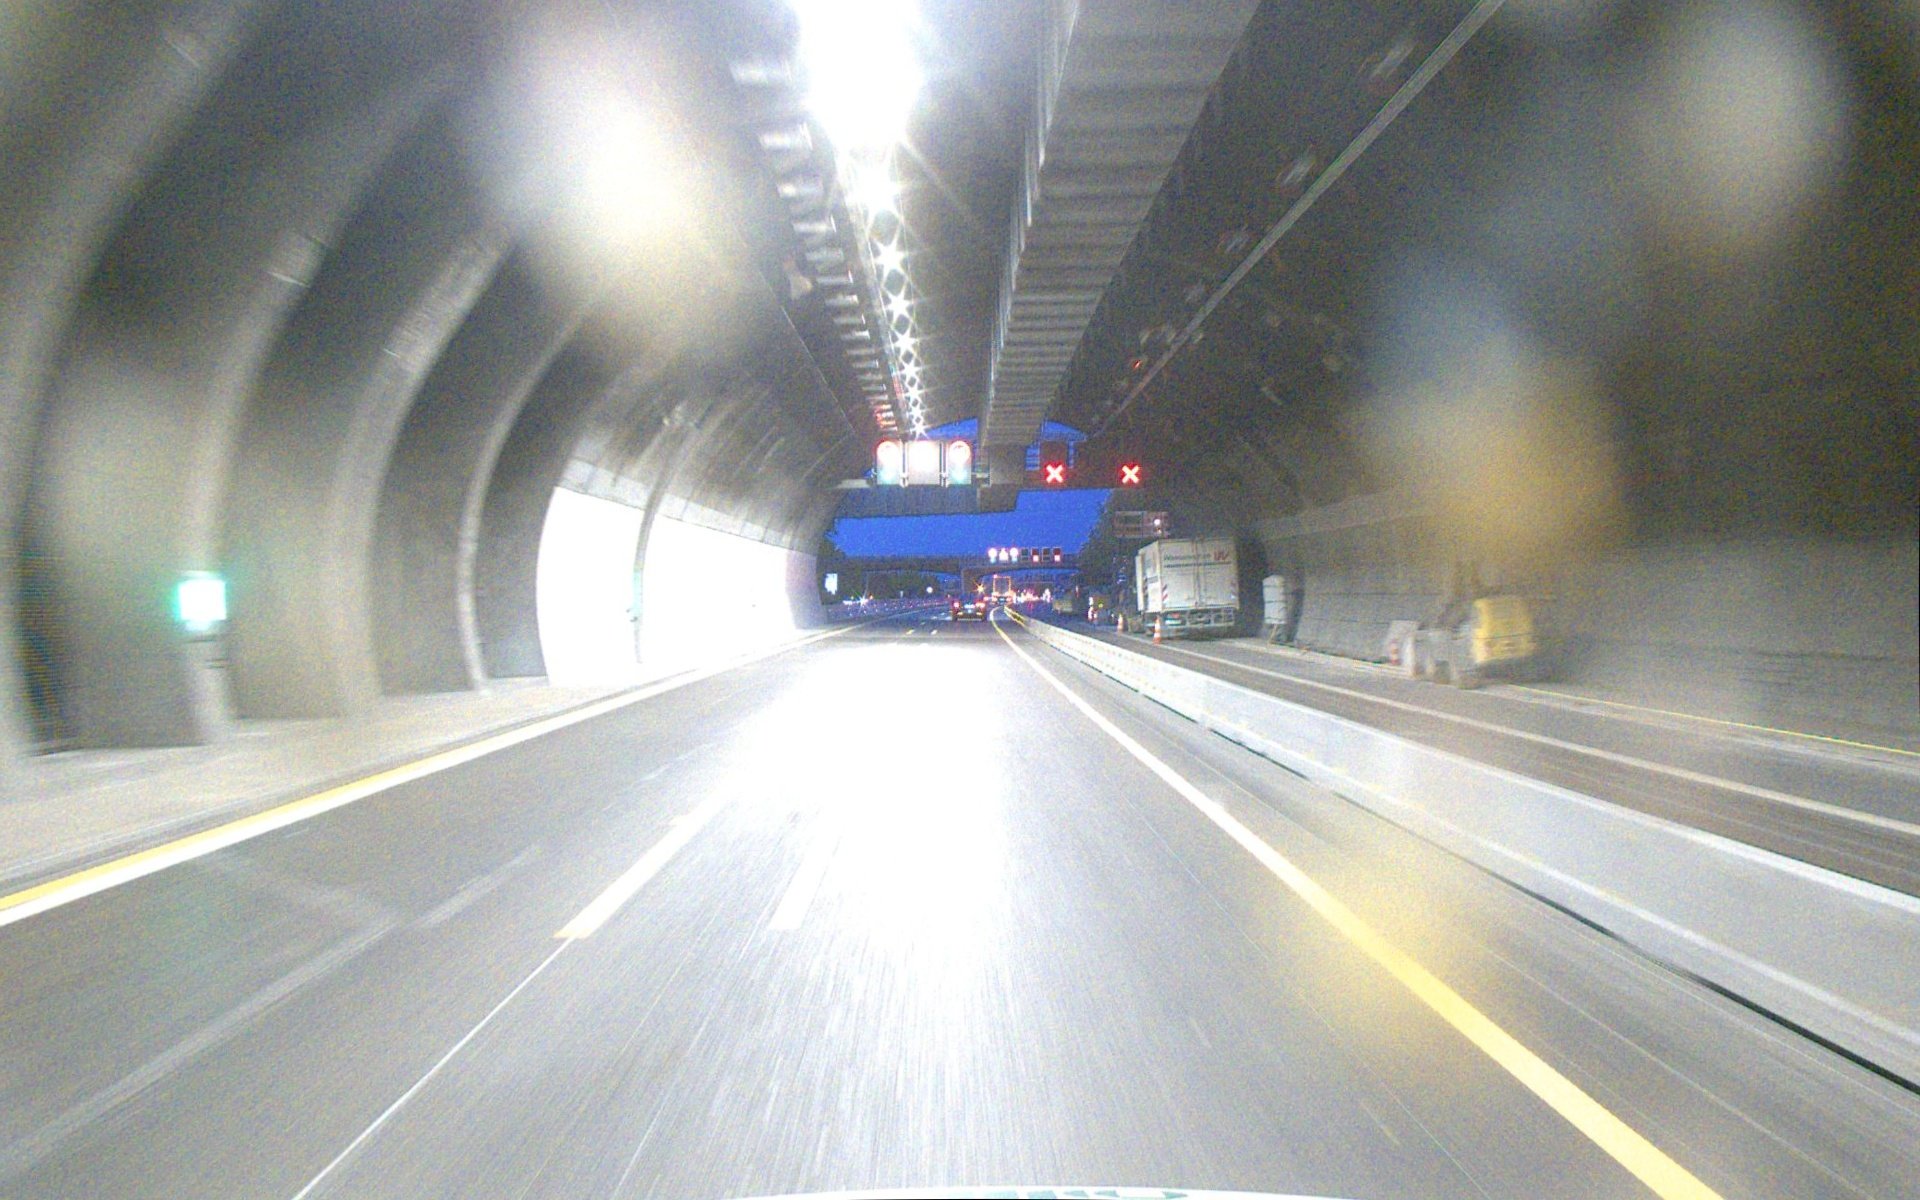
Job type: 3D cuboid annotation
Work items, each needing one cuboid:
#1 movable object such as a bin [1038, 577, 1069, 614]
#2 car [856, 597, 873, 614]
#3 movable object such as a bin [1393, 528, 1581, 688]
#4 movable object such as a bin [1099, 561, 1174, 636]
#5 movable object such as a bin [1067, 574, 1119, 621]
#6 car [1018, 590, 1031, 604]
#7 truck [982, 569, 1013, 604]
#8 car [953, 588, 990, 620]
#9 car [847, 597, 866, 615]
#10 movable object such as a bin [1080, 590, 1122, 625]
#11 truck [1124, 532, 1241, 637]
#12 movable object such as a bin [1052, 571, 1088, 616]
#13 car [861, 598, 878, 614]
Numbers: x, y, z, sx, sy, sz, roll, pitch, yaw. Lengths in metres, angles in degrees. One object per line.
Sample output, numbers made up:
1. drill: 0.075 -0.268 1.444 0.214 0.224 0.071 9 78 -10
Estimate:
1. movable object such as a bin: 9.069 -0.392 161.359 2.681 3.516 6.947 1 0 1
2. car: -11.956 0.713 207.411 1.953 2.049 4.000 1 0 0
3. movable object such as a bin: 8.765 0.127 27.872 1.721 2.421 3.999 -3 0 -1
4. movable object such as a bin: 6.998 -0.053 66.484 2.192 2.843 7.232 1 0 0
5. movable object such as a bin: 8.211 -0.151 102.799 2.681 2.802 7.050 1 0 1
6. car: 9.753 -0.448 250.342 1.952 2.049 4.000 1 0 1
7. truck: 5.485 -1.920 244.873 4.452 5.074 9.599 1 0 1
8. car: 0.584 0.206 87.907 1.849 1.635 3.999 1 0 -1
9. car: -12.329 0.685 197.314 1.953 2.049 4.000 1 0 0
10. movable object such as a bin: 7.643 0.382 90.092 1.938 1.847 3.836 1 0 0
11. truck: 7.529 -0.477 57.004 2.833 3.329 8.400 1 0 0
12. movable object such as a bin: 9.419 -0.516 142.199 2.681 3.743 6.334 1 0 1
13. car: -11.676 0.733 214.338 1.953 2.049 4.000 1 0 0
